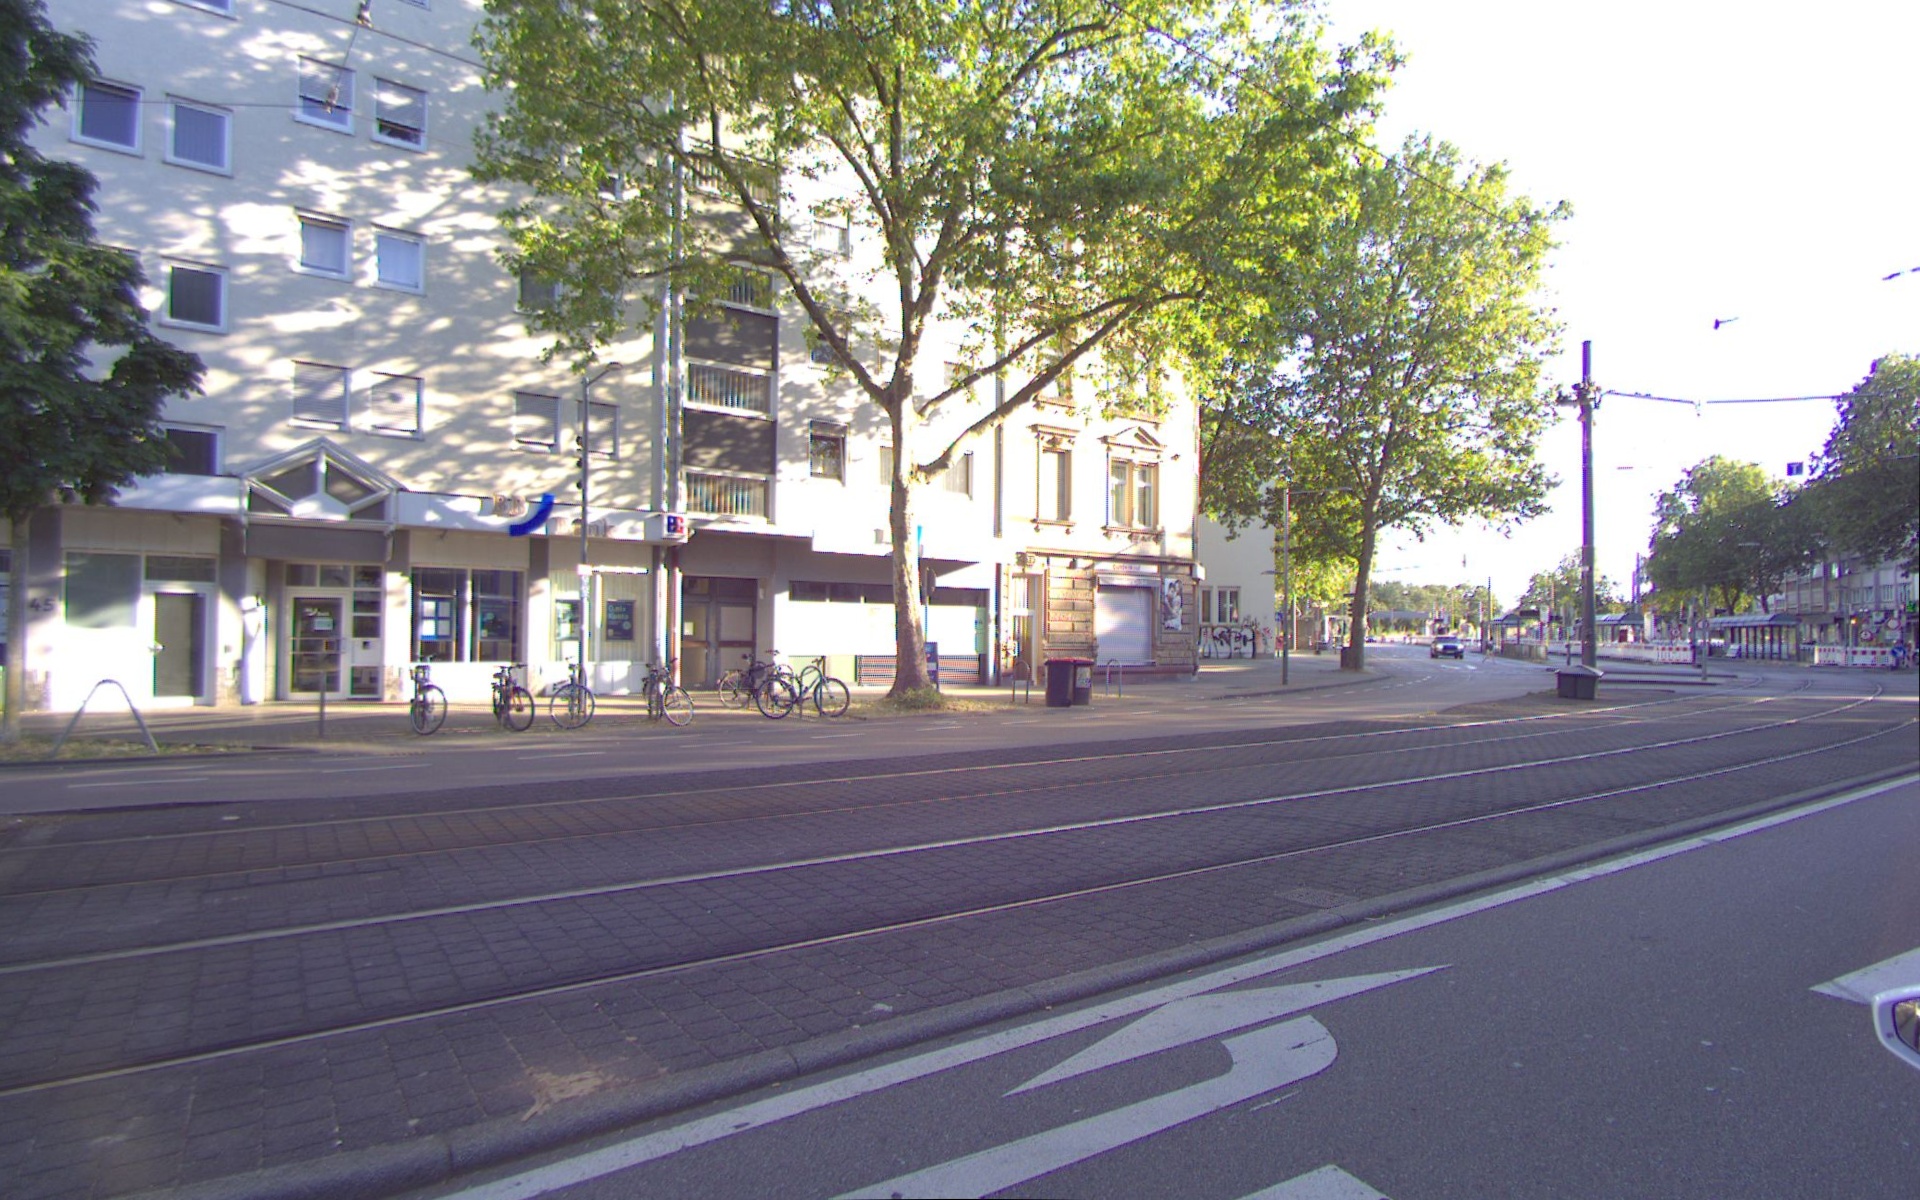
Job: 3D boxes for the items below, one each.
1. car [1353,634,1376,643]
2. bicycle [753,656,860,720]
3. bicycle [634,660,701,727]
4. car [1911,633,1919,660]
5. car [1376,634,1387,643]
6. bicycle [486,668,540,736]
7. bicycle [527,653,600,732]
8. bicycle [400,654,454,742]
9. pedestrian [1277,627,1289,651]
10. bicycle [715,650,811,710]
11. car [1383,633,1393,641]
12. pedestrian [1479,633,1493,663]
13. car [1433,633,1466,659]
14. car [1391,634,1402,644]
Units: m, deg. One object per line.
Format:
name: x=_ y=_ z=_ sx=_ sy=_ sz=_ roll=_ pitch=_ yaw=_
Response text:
car: x=78.241 y=7.375 z=194.278 sx=3.919 sy=1.661 sz=1.792 roll=0 pitch=-2 yaw=13
bicycle: x=-2.778 y=1.573 z=18.202 sx=1.800 sy=1.091 sz=0.649 roll=2 pitch=-2 yaw=-29
bicycle: x=-5.014 y=1.567 z=17.151 sx=0.584 sy=1.002 sz=1.729 roll=2 pitch=-1 yaw=-34
car: x=64.494 y=3.094 z=65.588 sx=1.960 sy=1.815 sz=4.000 roll=2 pitch=-1 yaw=20
car: x=79.455 y=7.196 z=189.323 sx=1.814 sy=1.706 sz=3.716 roll=0 pitch=-2 yaw=23
bicycle: x=-6.932 y=1.546 z=15.535 sx=0.467 sy=0.900 sz=1.729 roll=2 pitch=-1 yaw=-34
bicycle: x=-6.362 y=1.447 z=16.068 sx=0.724 sy=1.128 sz=1.729 roll=2 pitch=-1 yaw=-34
bicycle: x=-7.833 y=1.399 z=14.746 sx=0.506 sy=1.153 sz=1.729 roll=2 pitch=-1 yaw=-34
pedestrian: x=20.688 y=2.500 z=64.397 sx=0.599 sy=1.533 sz=0.493 roll=0 pitch=-1 yaw=-6
bicycle: x=-3.923 y=1.578 z=20.065 sx=1.777 sy=1.132 sz=0.617 roll=2 pitch=-2 yaw=-29
car: x=89.573 y=7.743 z=210.272 sx=1.814 sy=1.706 sz=3.716 roll=0 pitch=-2 yaw=23
pedestrian: x=30.415 y=2.774 z=58.112 sx=0.645 sy=1.678 sz=0.444 roll=0 pitch=-2 yaw=18
car: x=32.977 y=3.104 z=67.699 sx=1.962 sy=1.661 sz=3.997 roll=0 pitch=-2 yaw=25
car: x=78.775 y=7.032 z=181.340 sx=1.814 sy=1.706 sz=3.715 roll=-2 pitch=-2 yaw=23
